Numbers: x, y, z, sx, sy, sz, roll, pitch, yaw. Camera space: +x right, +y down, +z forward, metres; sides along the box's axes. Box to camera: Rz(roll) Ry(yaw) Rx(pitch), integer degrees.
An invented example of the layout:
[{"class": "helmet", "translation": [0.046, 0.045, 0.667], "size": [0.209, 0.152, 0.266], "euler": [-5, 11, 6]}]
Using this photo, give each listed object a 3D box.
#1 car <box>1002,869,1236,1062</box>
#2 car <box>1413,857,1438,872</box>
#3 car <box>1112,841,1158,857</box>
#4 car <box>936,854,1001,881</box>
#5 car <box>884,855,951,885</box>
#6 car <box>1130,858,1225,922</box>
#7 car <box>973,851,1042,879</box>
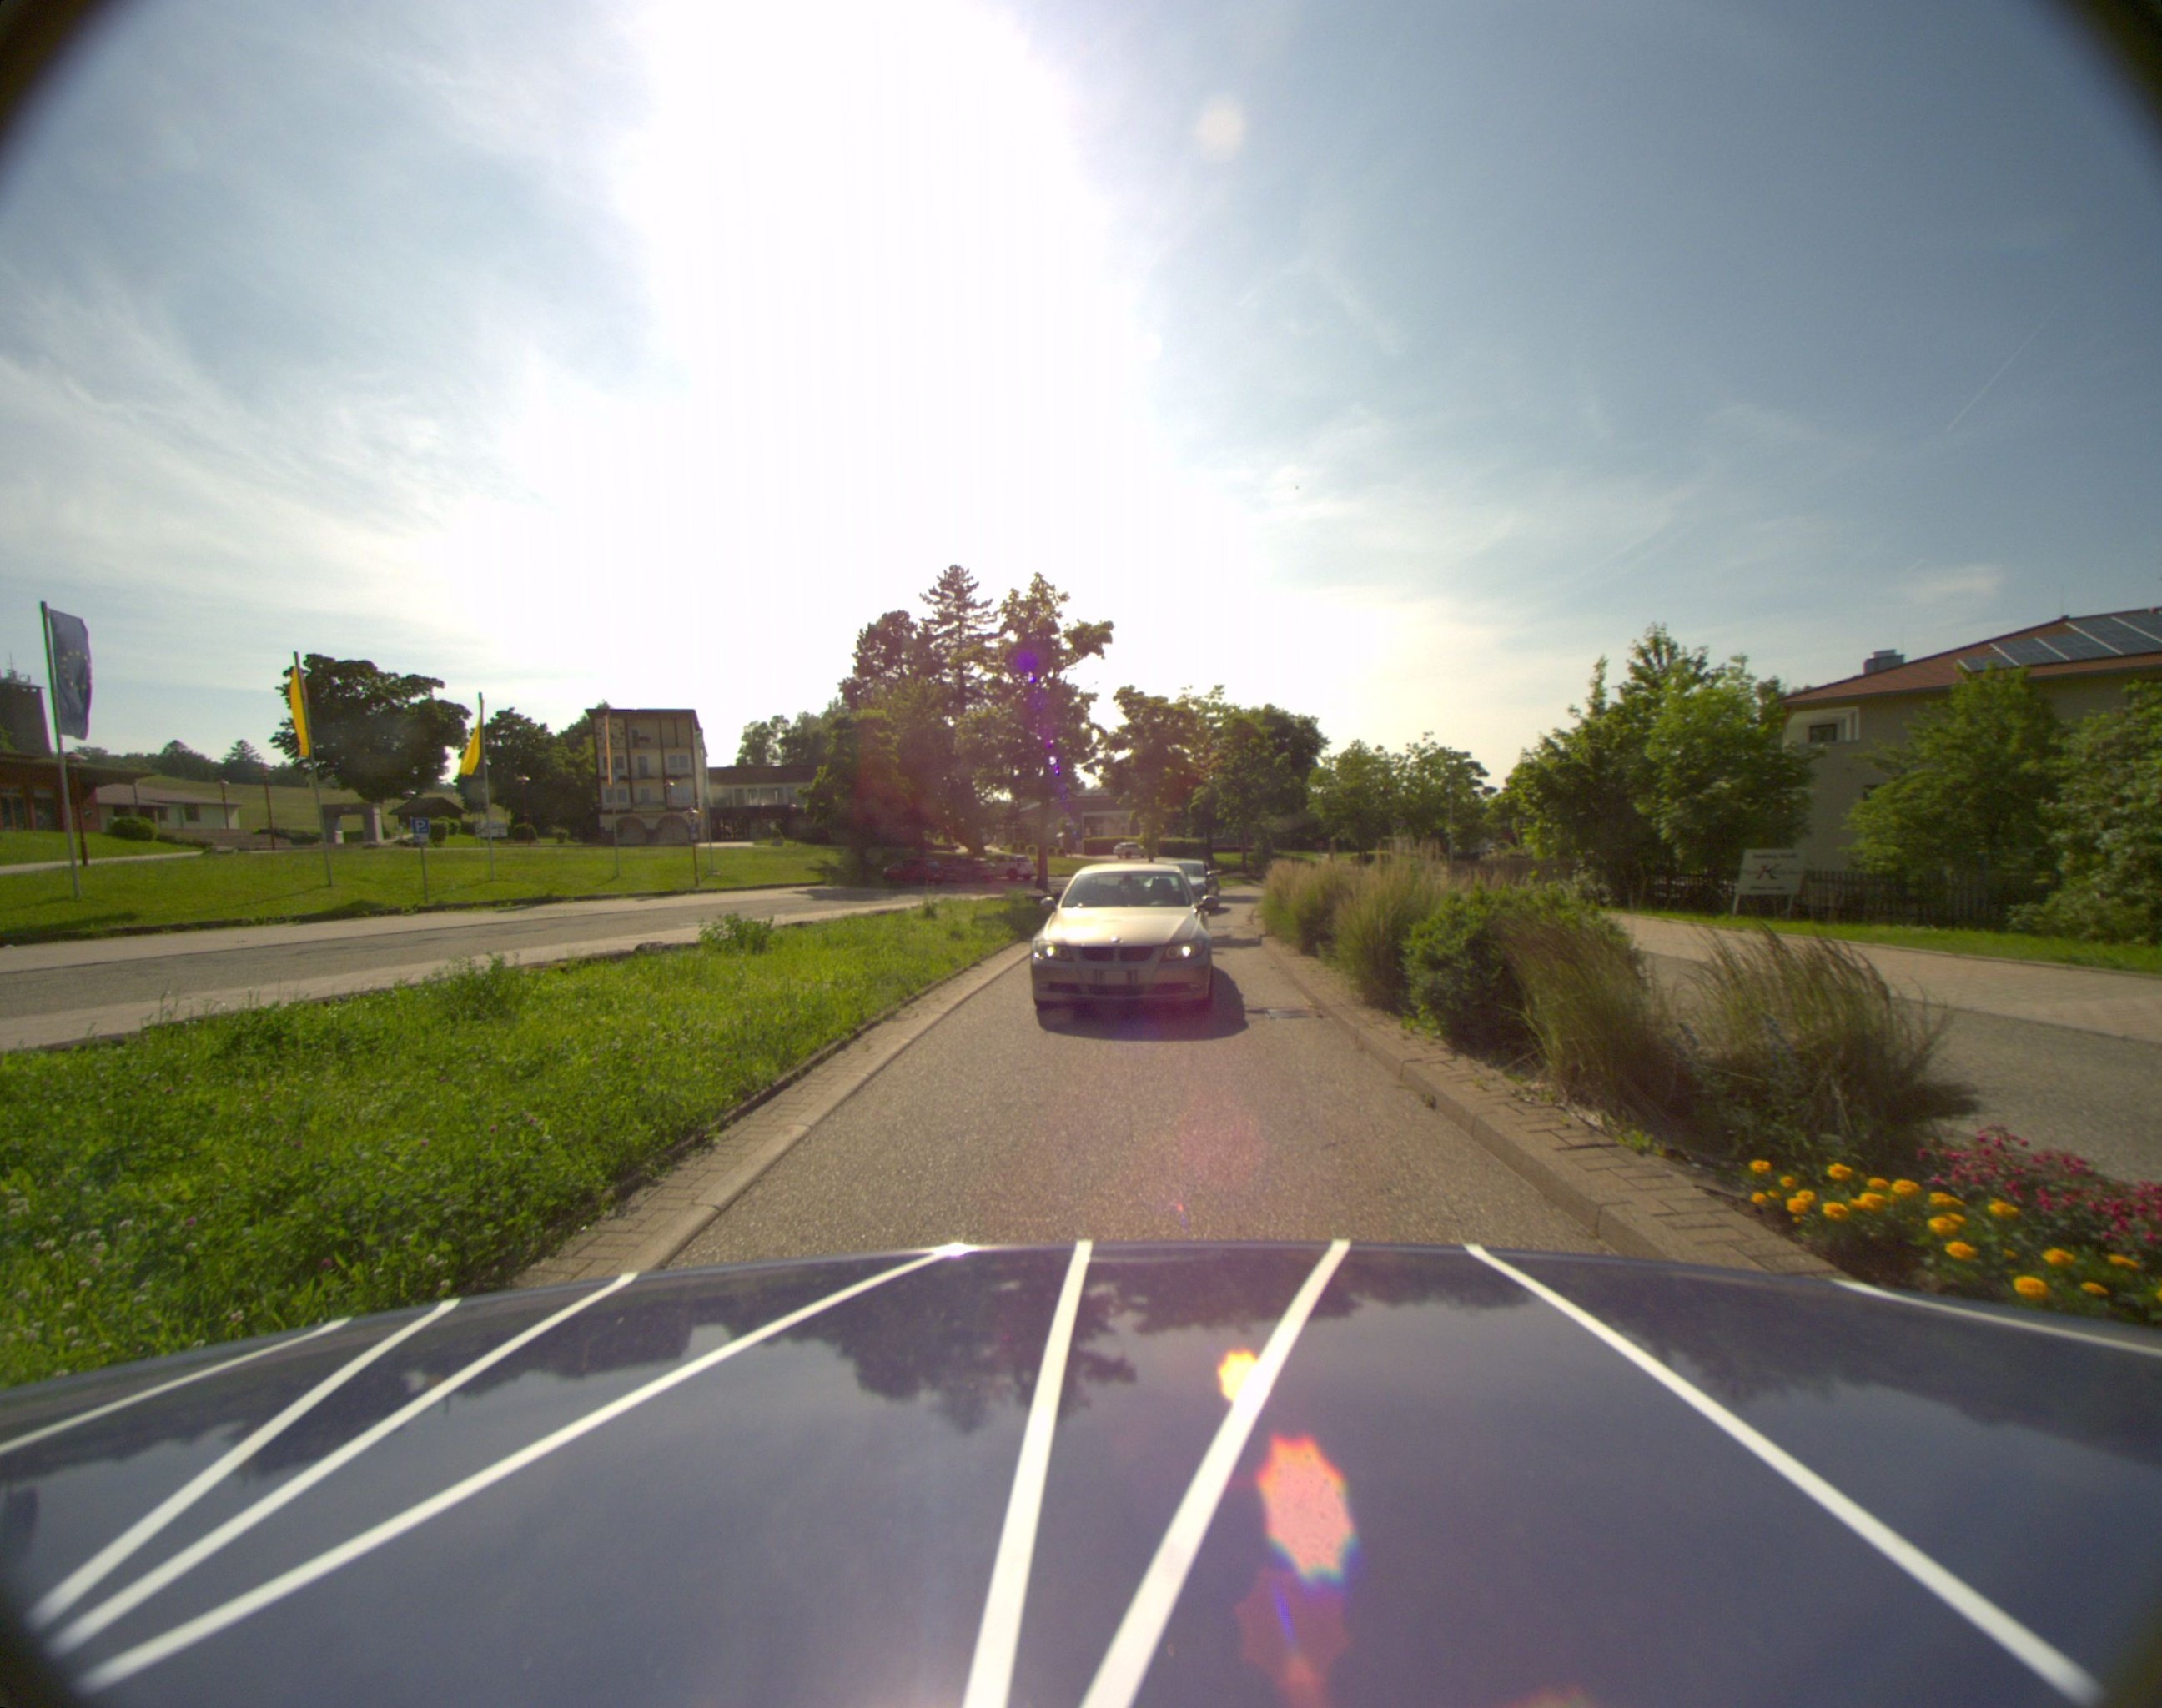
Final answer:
[{"class": "car", "translation": [0.499, 0.923, 8.286], "size": [1.838, 1.360, 4.582], "euler": [0, 1, 5]}, {"class": "car", "translation": [31.666, 0.963, 69.793], "size": [1.475, 1.357, 2.808], "euler": [1, 1, 36]}, {"class": "car", "translation": [5.651, -0.502, 79.219], "size": [4.375, 1.506, 1.789], "euler": [1, 1, -26]}, {"class": "car", "translation": [-6.611, 0.768, 44.610], "size": [3.529, 1.419, 1.689], "euler": [2, 1, 35]}, {"class": "car", "translation": [-9.055, 0.854, 41.988], "size": [3.303, 1.396, 1.717], "euler": [2, 3, 31]}, {"class": "car", "translation": [2.795, 0.927, 21.260], "size": [1.900, 1.499, 4.005], "euler": [2, 1, 18]}, {"class": "car", "translation": [-4.704, 0.682, 48.302], "size": [3.987, 1.609, 2.004], "euler": [2, 1, 35]}]
